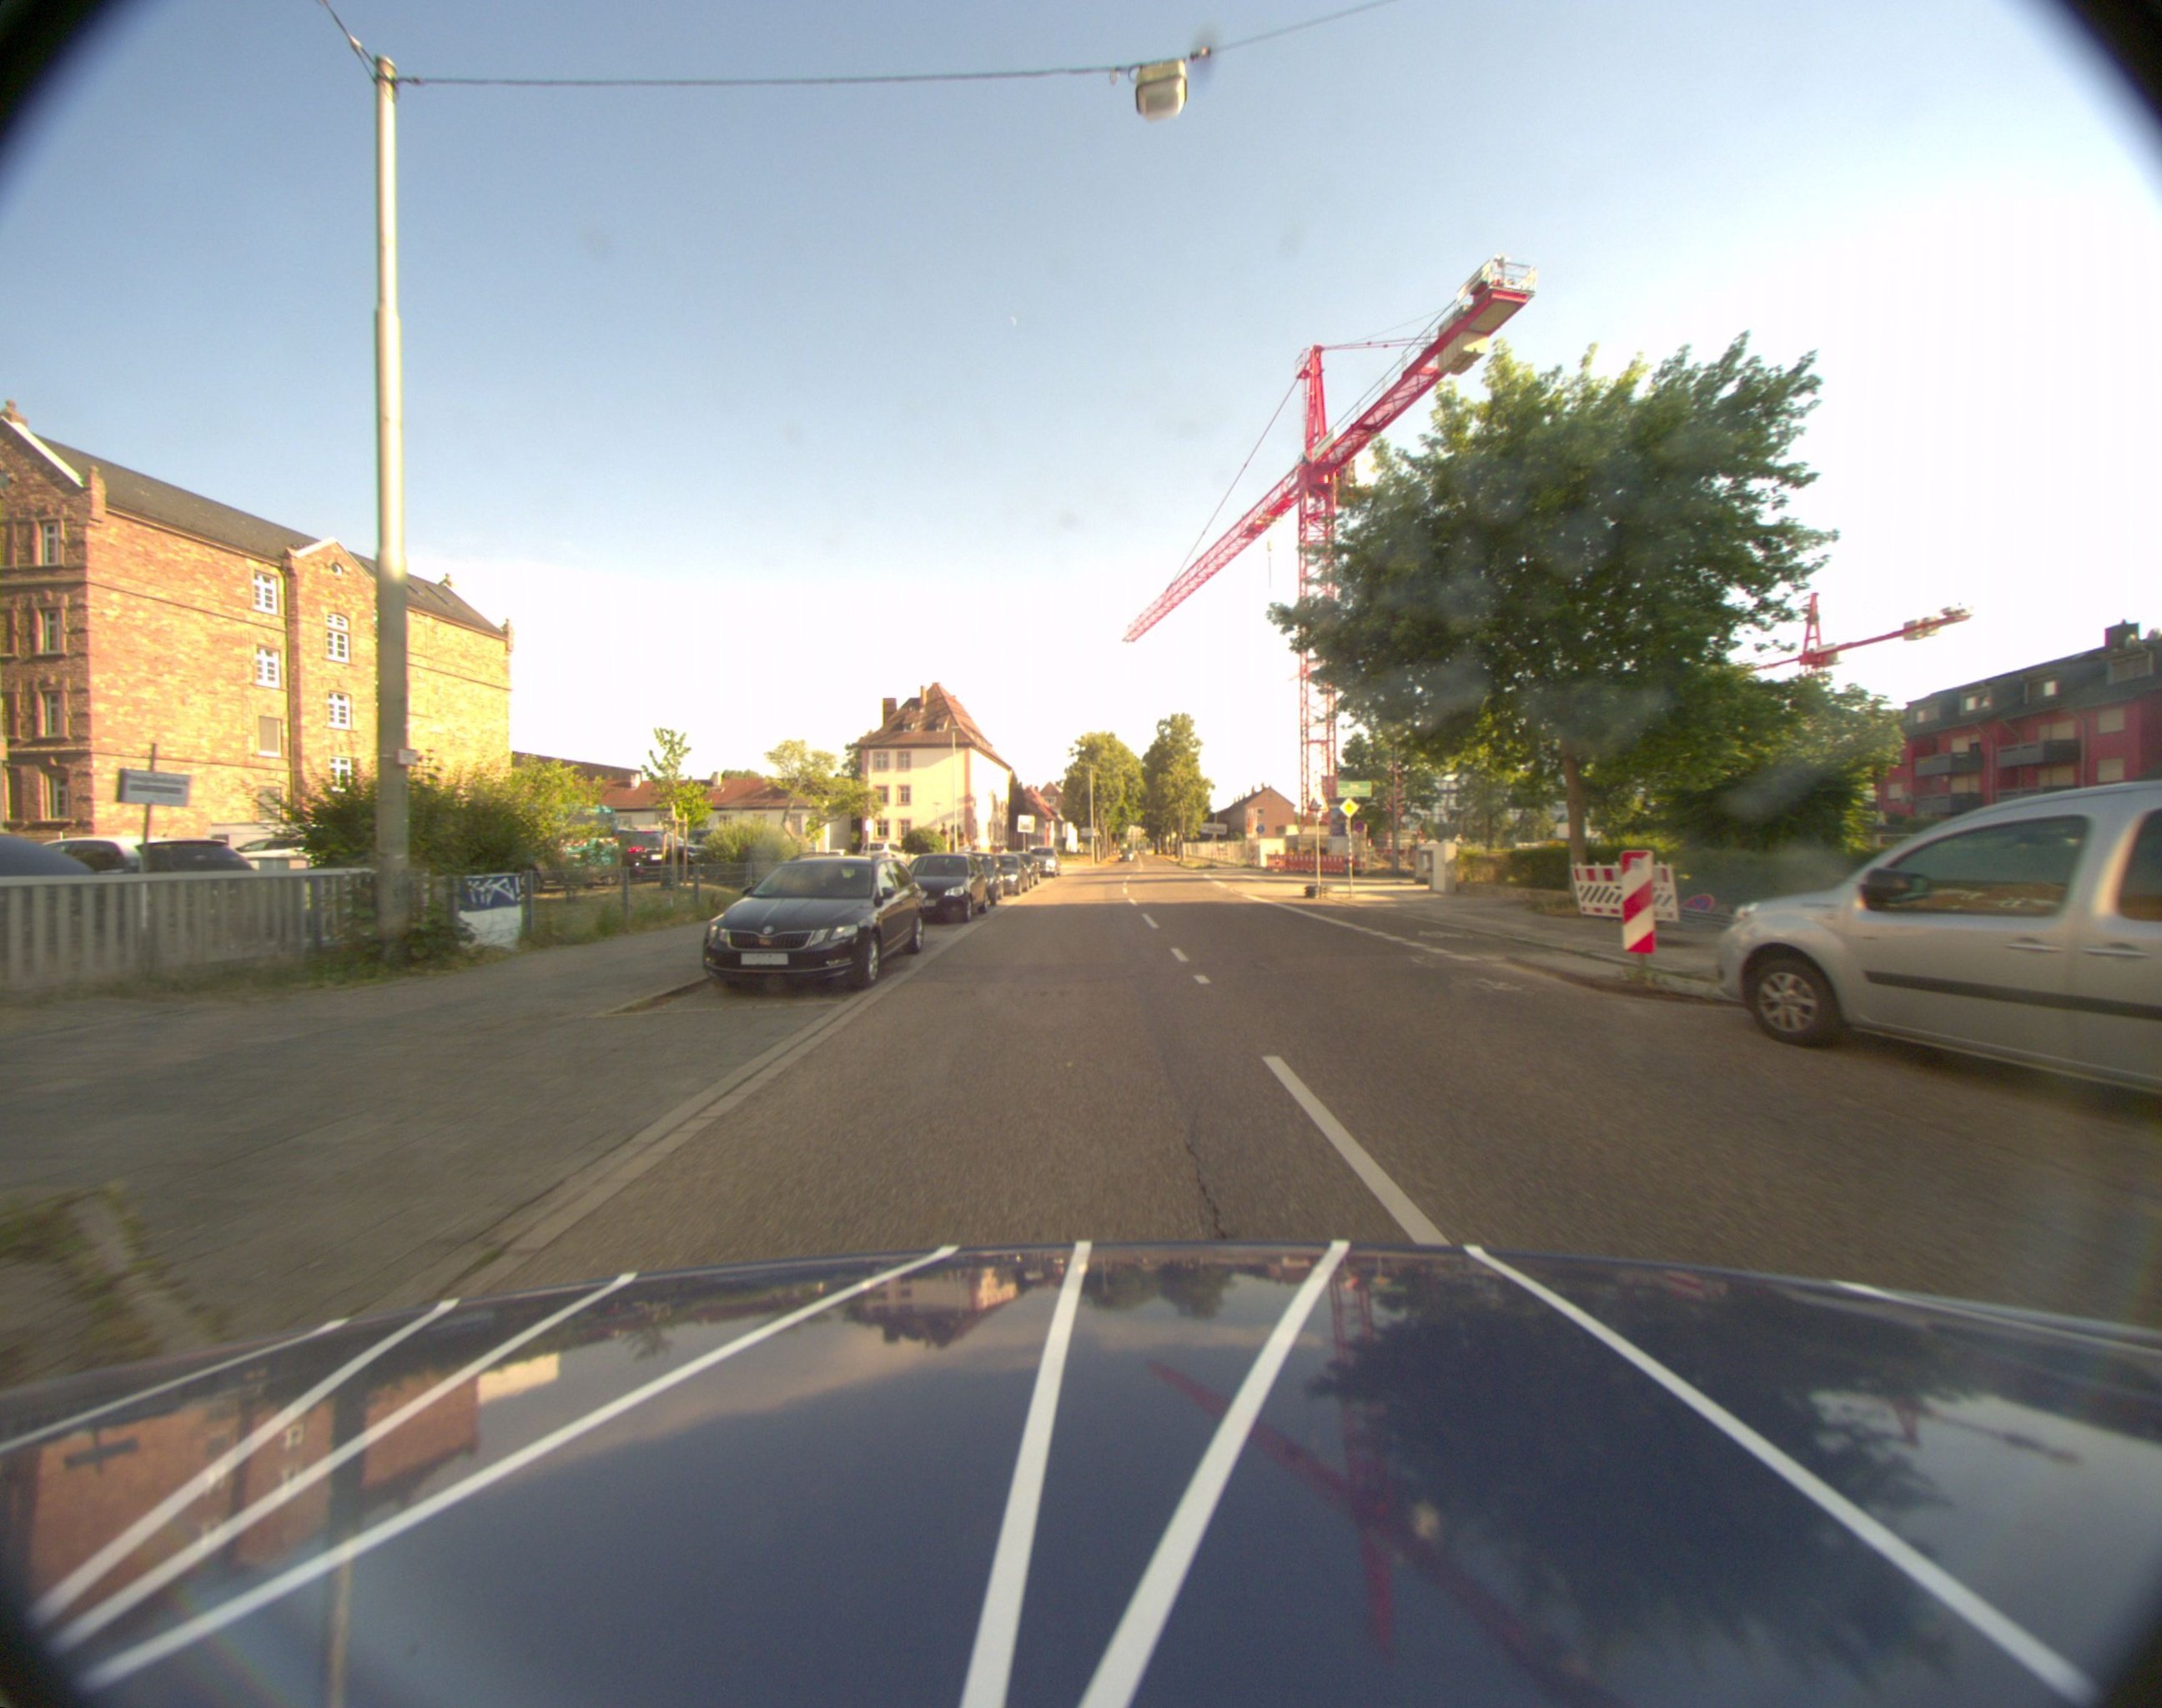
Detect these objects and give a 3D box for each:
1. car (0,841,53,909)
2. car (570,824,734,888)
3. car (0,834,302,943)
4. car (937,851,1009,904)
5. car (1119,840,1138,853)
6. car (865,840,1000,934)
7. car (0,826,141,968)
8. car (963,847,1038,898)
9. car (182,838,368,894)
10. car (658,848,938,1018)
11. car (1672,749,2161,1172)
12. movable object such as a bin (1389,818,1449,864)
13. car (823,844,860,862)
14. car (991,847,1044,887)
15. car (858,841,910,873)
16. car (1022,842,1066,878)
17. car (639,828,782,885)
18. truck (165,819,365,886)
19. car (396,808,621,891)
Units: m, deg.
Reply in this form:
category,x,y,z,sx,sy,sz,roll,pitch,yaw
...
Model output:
category,x,y,z,sx,sy,sz,roll,pitch,yaw
car,-27.567,0.595,17.905,4.487,1.593,1.732,-3,2,4
car,-13.548,0.043,24.164,3.996,1.784,2.000,-3,2,2
car,-15.199,0.520,11.804,4.487,1.447,1.732,-3,2,4
car,-3.134,0.687,22.707,1.655,1.427,3.960,0,-1,-1
car,5.464,-0.851,88.168,1.776,1.492,3.672,-1,0,-3
car,-3.198,0.614,17.411,1.906,1.769,4.581,-2,2,3
car,-14.326,0.470,8.965,4.487,1.593,1.732,0,2,3
car,-2.837,0.605,27.807,1.906,1.521,4.810,-3,1,3
car,-27.085,0.381,25.617,4.487,1.593,1.732,-3,2,4
car,-3.246,0.765,9.953,1.891,1.552,4.944,2,1,-1
car,5.772,0.474,3.998,1.846,1.886,4.486,1,2,1
movable object such as a bin,40.736,-1.695,92.139,4.093,5.035,12.230,-2,2,12
car,-22.151,-0.098,70.431,1.998,1.445,4.000,-3,2,3
car,-2.703,0.520,33.229,1.746,1.532,4.439,1,2,3
car,-11.132,0.130,43.120,1.657,1.652,3.999,-3,2,3
car,-2.057,0.299,43.546,1.925,1.769,4.810,3,2,3
car,-13.103,0.070,27.081,3.997,1.784,1.999,-3,2,1
truck,-37.112,-0.082,34.694,6.438,2.668,2.542,-3,2,4
car,-14.176,-0.133,19.007,3.997,1.784,1.999,-3,2,1
